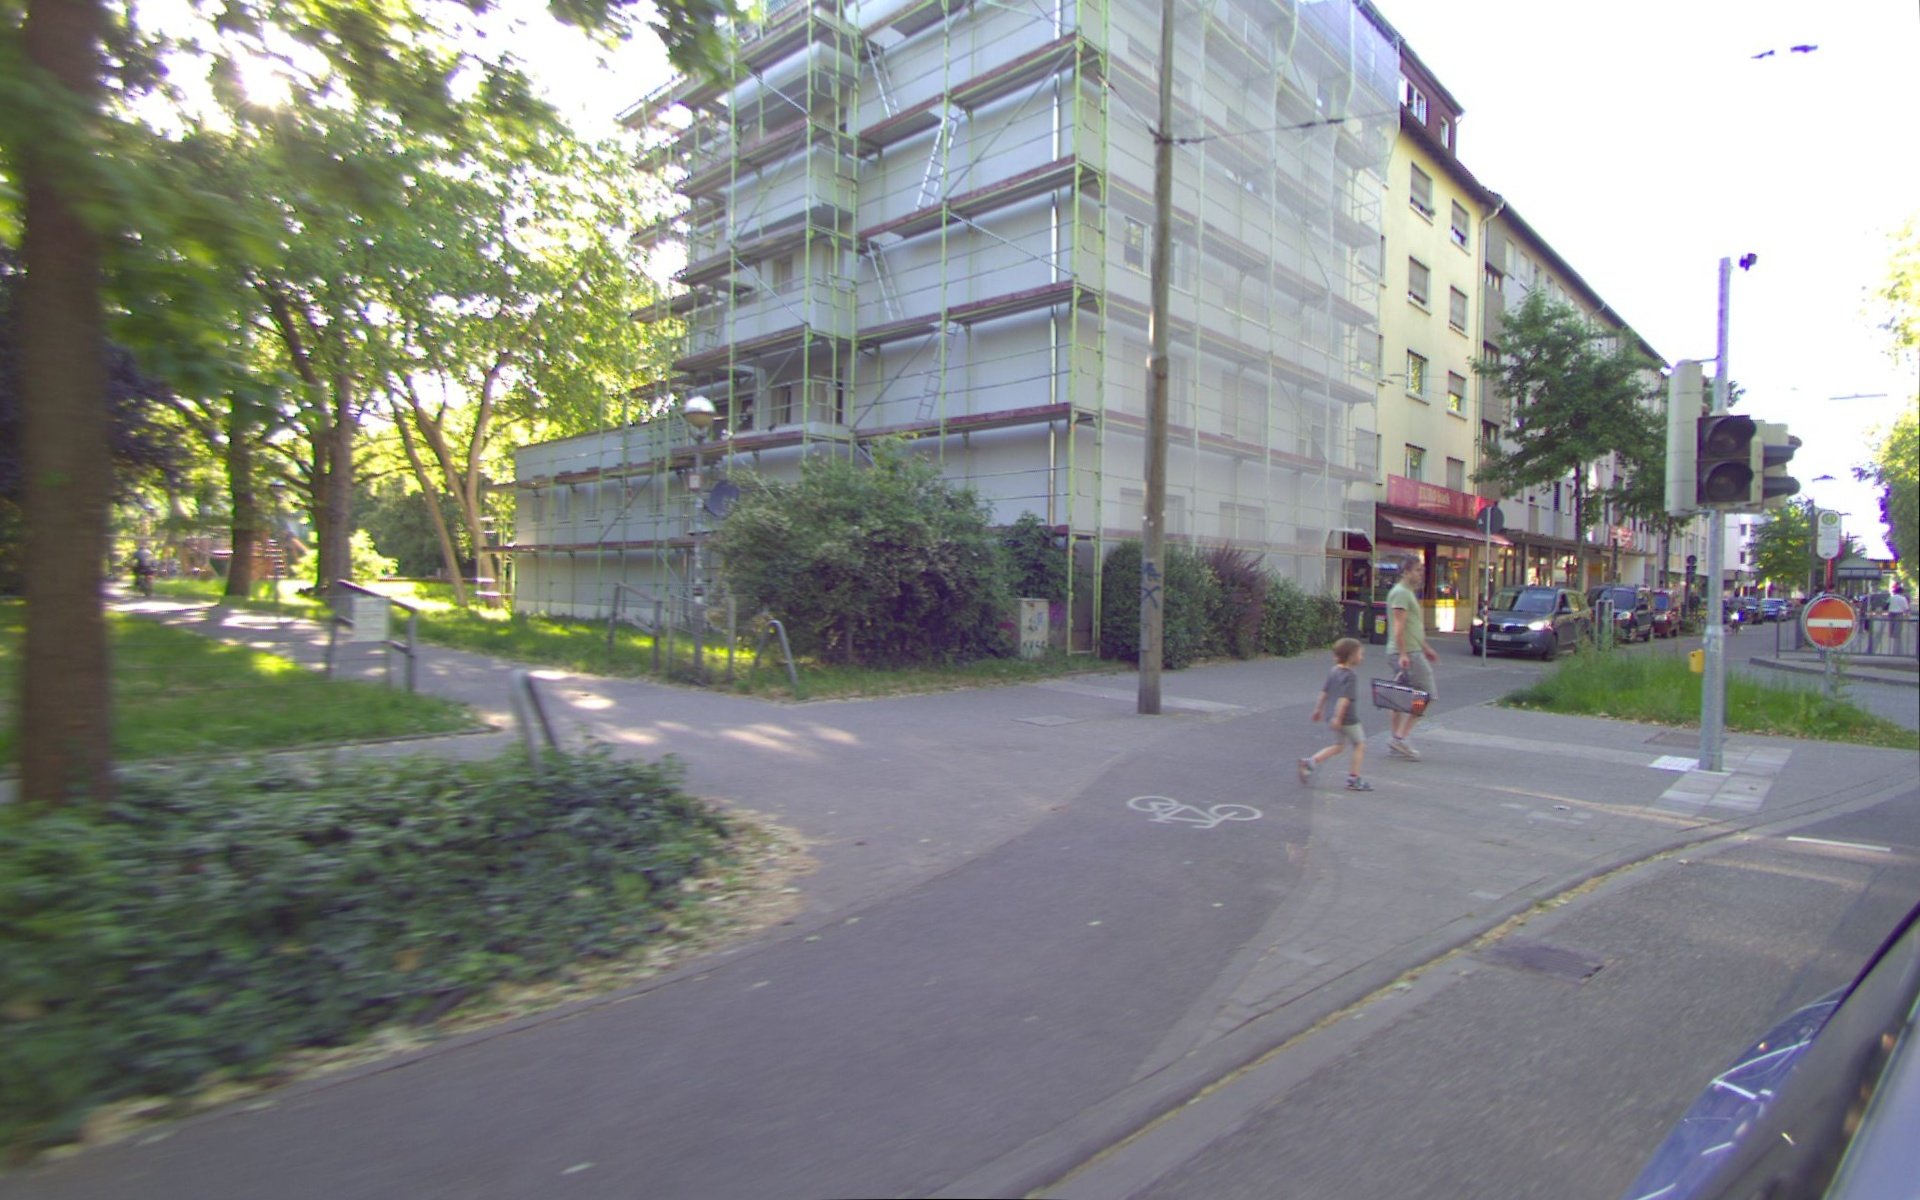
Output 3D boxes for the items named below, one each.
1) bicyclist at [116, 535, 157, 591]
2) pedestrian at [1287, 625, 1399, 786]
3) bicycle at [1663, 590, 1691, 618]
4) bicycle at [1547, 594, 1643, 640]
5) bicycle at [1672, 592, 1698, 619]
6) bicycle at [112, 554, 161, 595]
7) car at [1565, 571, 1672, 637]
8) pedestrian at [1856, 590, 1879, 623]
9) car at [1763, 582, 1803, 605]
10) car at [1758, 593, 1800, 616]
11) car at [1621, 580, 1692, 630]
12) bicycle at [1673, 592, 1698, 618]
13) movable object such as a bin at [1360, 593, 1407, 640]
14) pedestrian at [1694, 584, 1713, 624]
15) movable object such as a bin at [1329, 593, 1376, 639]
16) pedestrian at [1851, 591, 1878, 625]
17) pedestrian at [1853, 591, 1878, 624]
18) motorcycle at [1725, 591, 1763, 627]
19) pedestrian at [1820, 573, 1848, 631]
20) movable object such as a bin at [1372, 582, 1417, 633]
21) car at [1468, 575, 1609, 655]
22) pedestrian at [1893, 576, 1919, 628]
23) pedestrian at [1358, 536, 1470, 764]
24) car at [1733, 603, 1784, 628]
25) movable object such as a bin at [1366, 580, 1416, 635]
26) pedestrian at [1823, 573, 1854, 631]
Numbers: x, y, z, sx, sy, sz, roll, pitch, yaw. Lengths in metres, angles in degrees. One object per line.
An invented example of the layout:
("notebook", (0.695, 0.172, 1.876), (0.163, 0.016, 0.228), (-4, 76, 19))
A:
("bicyclist", (-26.654, -1.186, 32.763), (1.064, 1.767, 0.921), (0, 0, 44))
("pedestrian", (2.888, 0.771, 7.688), (0.665, 1.132, 0.658), (0, 0, 10))
("bicycle", (34.159, 0.209, 48.199), (0.770, 1.194, 2.743), (8, 4, 39))
("bicycle", (18.642, 0.474, 29.754), (2.205, 1.224, 1.013), (4, 3, 44))
("bicycle", (35.288, 0.263, 49.257), (0.770, 1.194, 2.743), (8, 4, 39))
("bicycle", (-26.716, -0.799, 32.822), (2.681, 1.281, 0.921), (0, 0, 44))
("car", (21.561, 0.106, 33.071), (4.125, 1.918, 1.996), (0, 4, -45))
("pedestrian", (36.325, 0.247, 40.510), (0.582, 1.321, 0.521), (-1, 0, 33))
("car", (60.067, -0.502, 73.862), (1.993, 1.601, 3.937), (0, 0, 44))
("car", (56.087, 0.312, 69.290), (1.894, 1.505, 3.937), (0, 0, 44))
("car", (26.090, 0.158, 37.867), (1.687, 1.777, 4.110), (0, 0, 42))
("bicycle", (36.532, 0.263, 50.922), (0.770, 1.194, 2.743), (7, 4, 39))
("movable object such as a bin", (10.677, 0.400, 25.529), (0.880, 1.124, 0.686), (3, 2, 42))
("pedestrian", (34.916, 0.170, 47.523), (0.676, 1.827, 0.763), (0, 1, 37))
("movable object such as a bin", (9.922, 0.392, 25.592), (0.880, 1.124, 0.686), (3, 2, 42))
("pedestrian", (35.931, 0.305, 40.219), (0.716, 1.343, 0.487), (0, 0, 33))
("pedestrian", (43.866, 0.365, 49.034), (0.837, 1.596, 0.650), (0, 0, -28))
("motorcycle", (33.066, 0.353, 42.685), (1.052, 1.473, 2.174), (0, 0, 44))
("pedestrian", (27.685, 0.059, 32.053), (0.689, 1.792, 0.494), (0, 0, -31))
("movable object such as a bin", (12.212, 0.192, 28.432), (0.923, 1.367, 0.812), (3, 2, 42))
("car", (13.671, 0.316, 23.817), (1.763, 1.641, 4.369), (4, 2, 45))
("pedestrian", (32.282, 0.064, 34.377), (0.629, 1.734, 0.834), (0, 0, -45))
("pedestrian", (4.085, 0.412, 9.101), (0.861, 1.909, 0.989), (0, 0, 26))
("car", (50.280, 0.947, 63.667), (4.584, 1.502, 1.954), (-1, 0, -45))
("movable object such as a bin", (11.710, 0.184, 27.498), (0.999, 1.414, 0.812), (3, 2, 42))
("pedestrian", (27.309, 0.066, 31.475), (0.686, 1.777, 0.572), (0, 0, 38))
